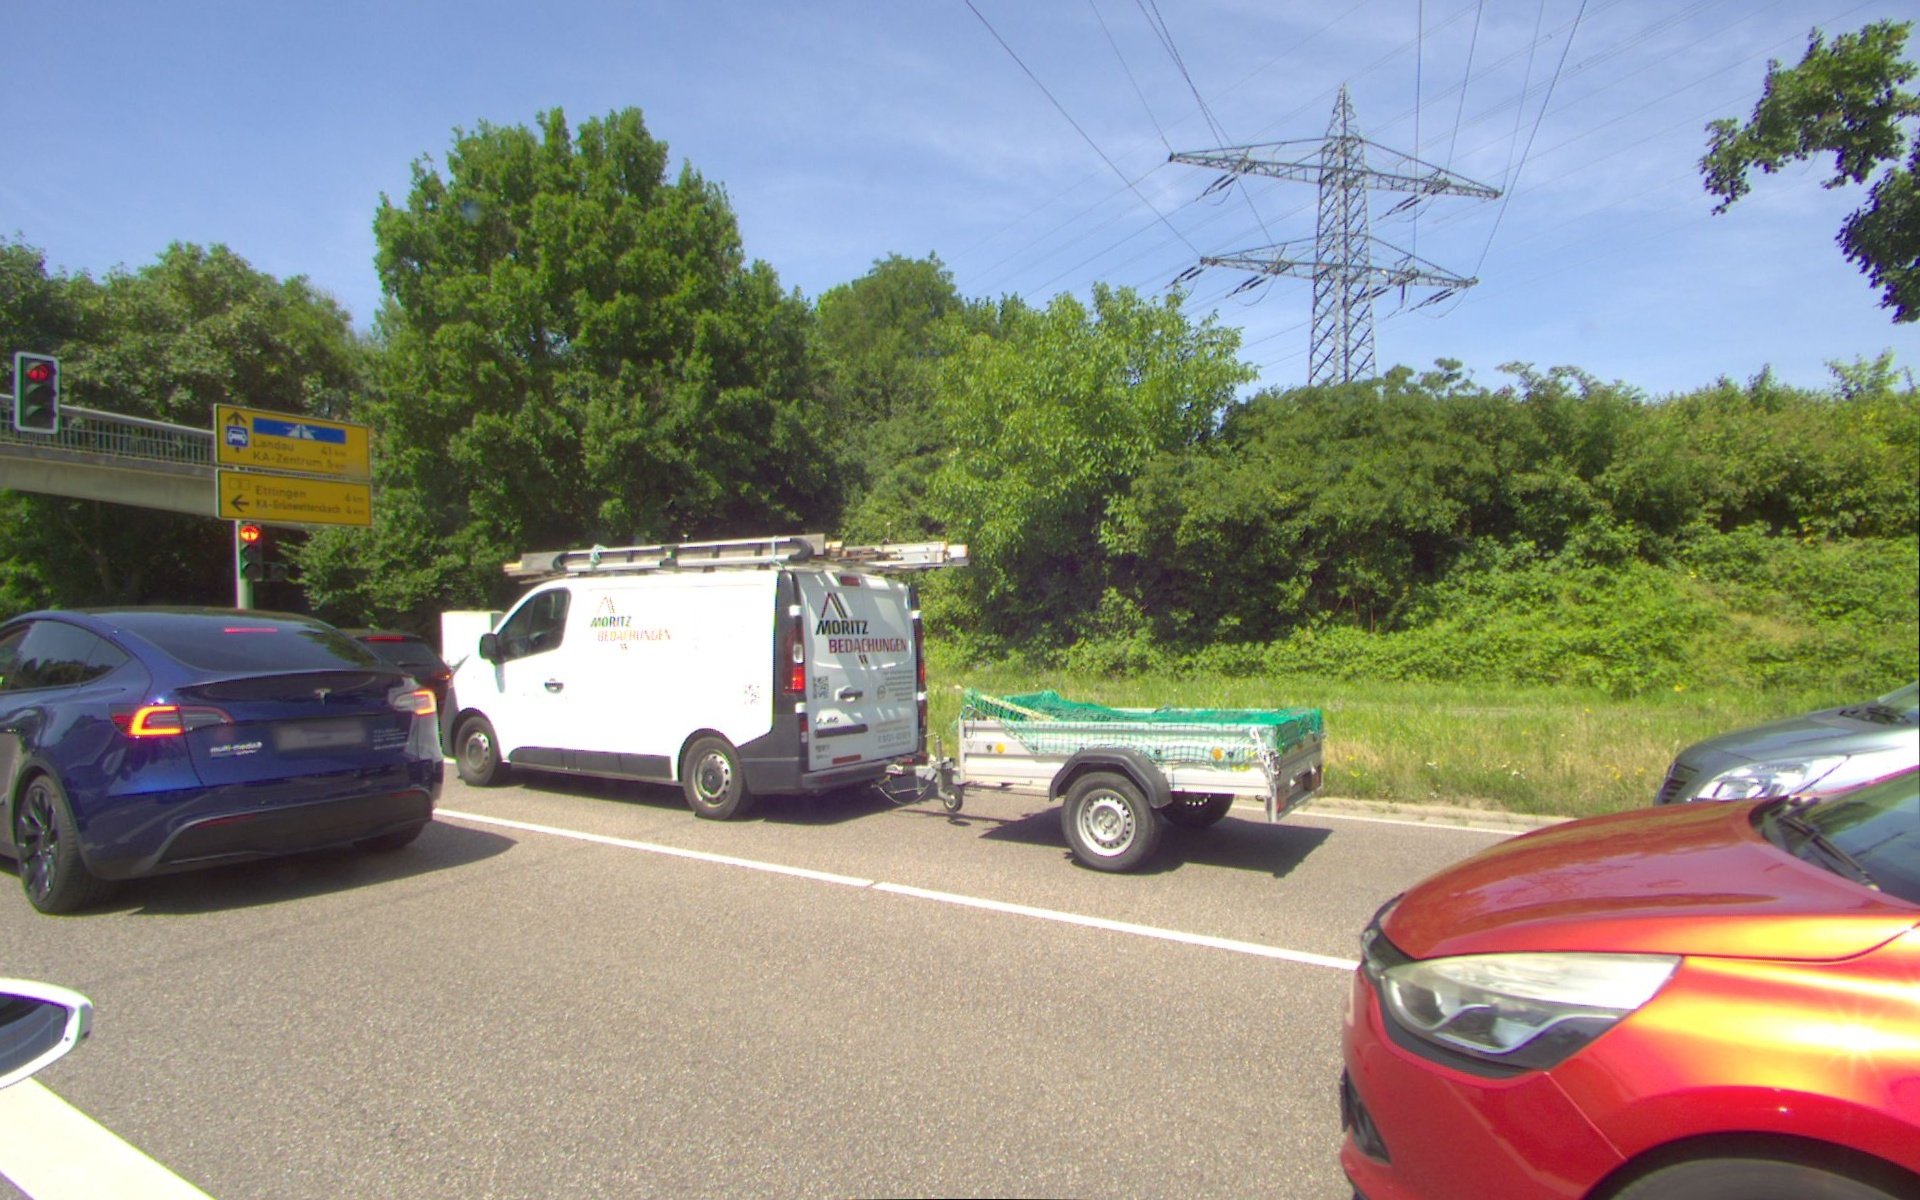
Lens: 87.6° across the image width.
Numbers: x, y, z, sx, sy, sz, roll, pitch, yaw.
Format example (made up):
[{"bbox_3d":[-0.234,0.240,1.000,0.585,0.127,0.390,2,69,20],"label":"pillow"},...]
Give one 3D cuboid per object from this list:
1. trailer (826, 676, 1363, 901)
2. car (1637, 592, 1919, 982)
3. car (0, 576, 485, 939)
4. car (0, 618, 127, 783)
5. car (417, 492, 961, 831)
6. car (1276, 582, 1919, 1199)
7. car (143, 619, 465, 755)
[{"bbox_3d":[0.889,1.116,6.901,3.276,1.019,1.703,-1,-1,32],"label":"trailer"},{"bbox_3d":[5.415,0.771,4.279,4.105,1.616,1.761,-1,0,32],"label":"car"},{"bbox_3d":[-5.335,0.771,6.609,4.455,1.665,1.897,-1,-1,32],"label":"car"},{"bbox_3d":[-10.359,0.928,10.106,3.882,1.497,1.897,-1,-2,32],"label":"car"},{"bbox_3d":[-2.617,0.485,9.173,5.002,2.379,1.929,-1,-1,32],"label":"car"},{"bbox_3d":[2.780,0.725,1.682,4.006,1.480,1.740,-1,-1,32],"label":"car"},{"bbox_3d":[-8.592,1.006,13.030,4.318,1.497,1.897,-1,-2,32],"label":"car"}]
